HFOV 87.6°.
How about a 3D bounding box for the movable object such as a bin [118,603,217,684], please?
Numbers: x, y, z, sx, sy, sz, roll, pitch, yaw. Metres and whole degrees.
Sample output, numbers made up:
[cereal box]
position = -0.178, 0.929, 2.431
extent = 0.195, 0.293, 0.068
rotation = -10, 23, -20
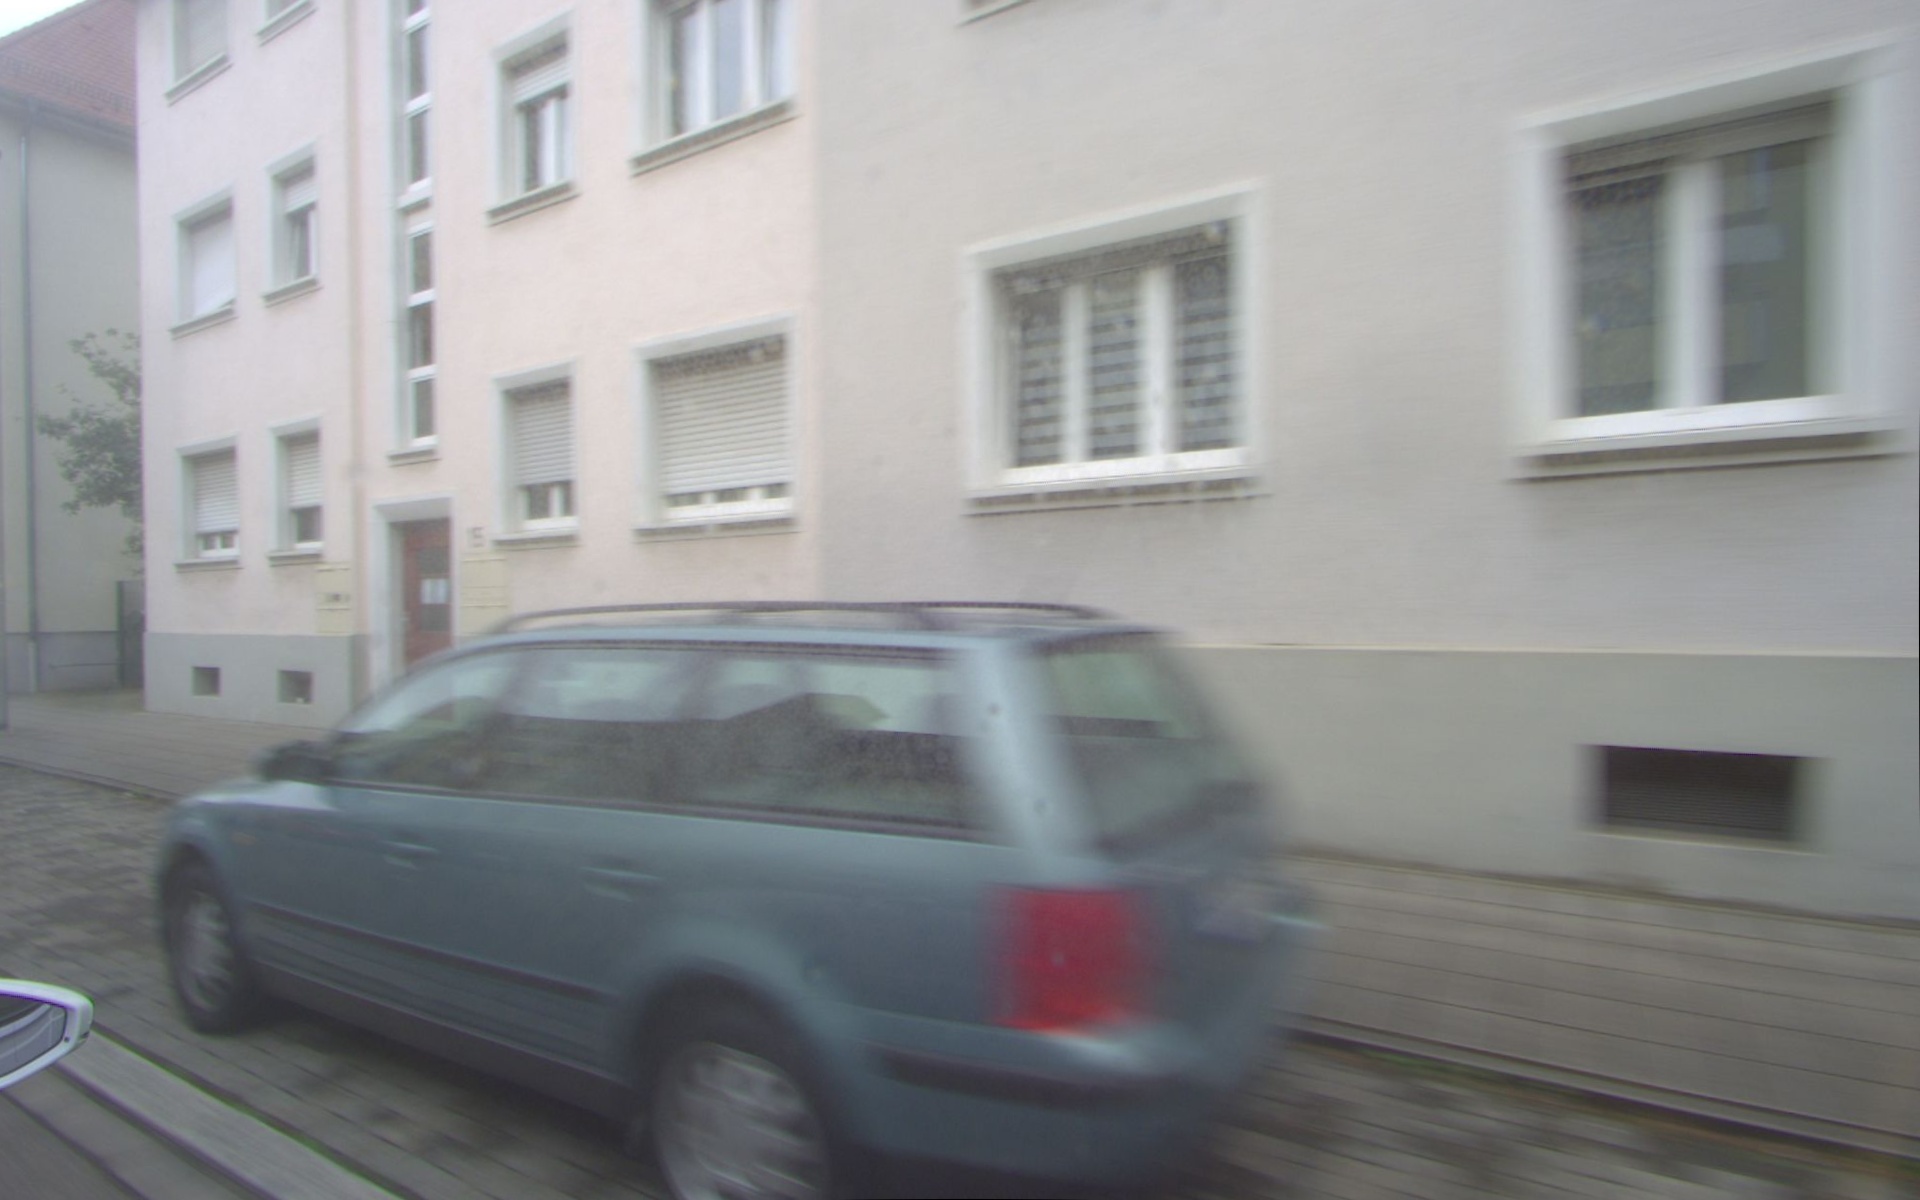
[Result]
[movable object such as a bin]
position = -14.999, 0.801, 18.971
extent = 1.133, 1.463, 1.159
rotation = 0, 0, 32

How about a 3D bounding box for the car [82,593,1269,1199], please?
[car]
position = -1.239, 0.756, 3.581
extent = 4.203, 1.488, 1.722
rotation = -1, 0, 32
